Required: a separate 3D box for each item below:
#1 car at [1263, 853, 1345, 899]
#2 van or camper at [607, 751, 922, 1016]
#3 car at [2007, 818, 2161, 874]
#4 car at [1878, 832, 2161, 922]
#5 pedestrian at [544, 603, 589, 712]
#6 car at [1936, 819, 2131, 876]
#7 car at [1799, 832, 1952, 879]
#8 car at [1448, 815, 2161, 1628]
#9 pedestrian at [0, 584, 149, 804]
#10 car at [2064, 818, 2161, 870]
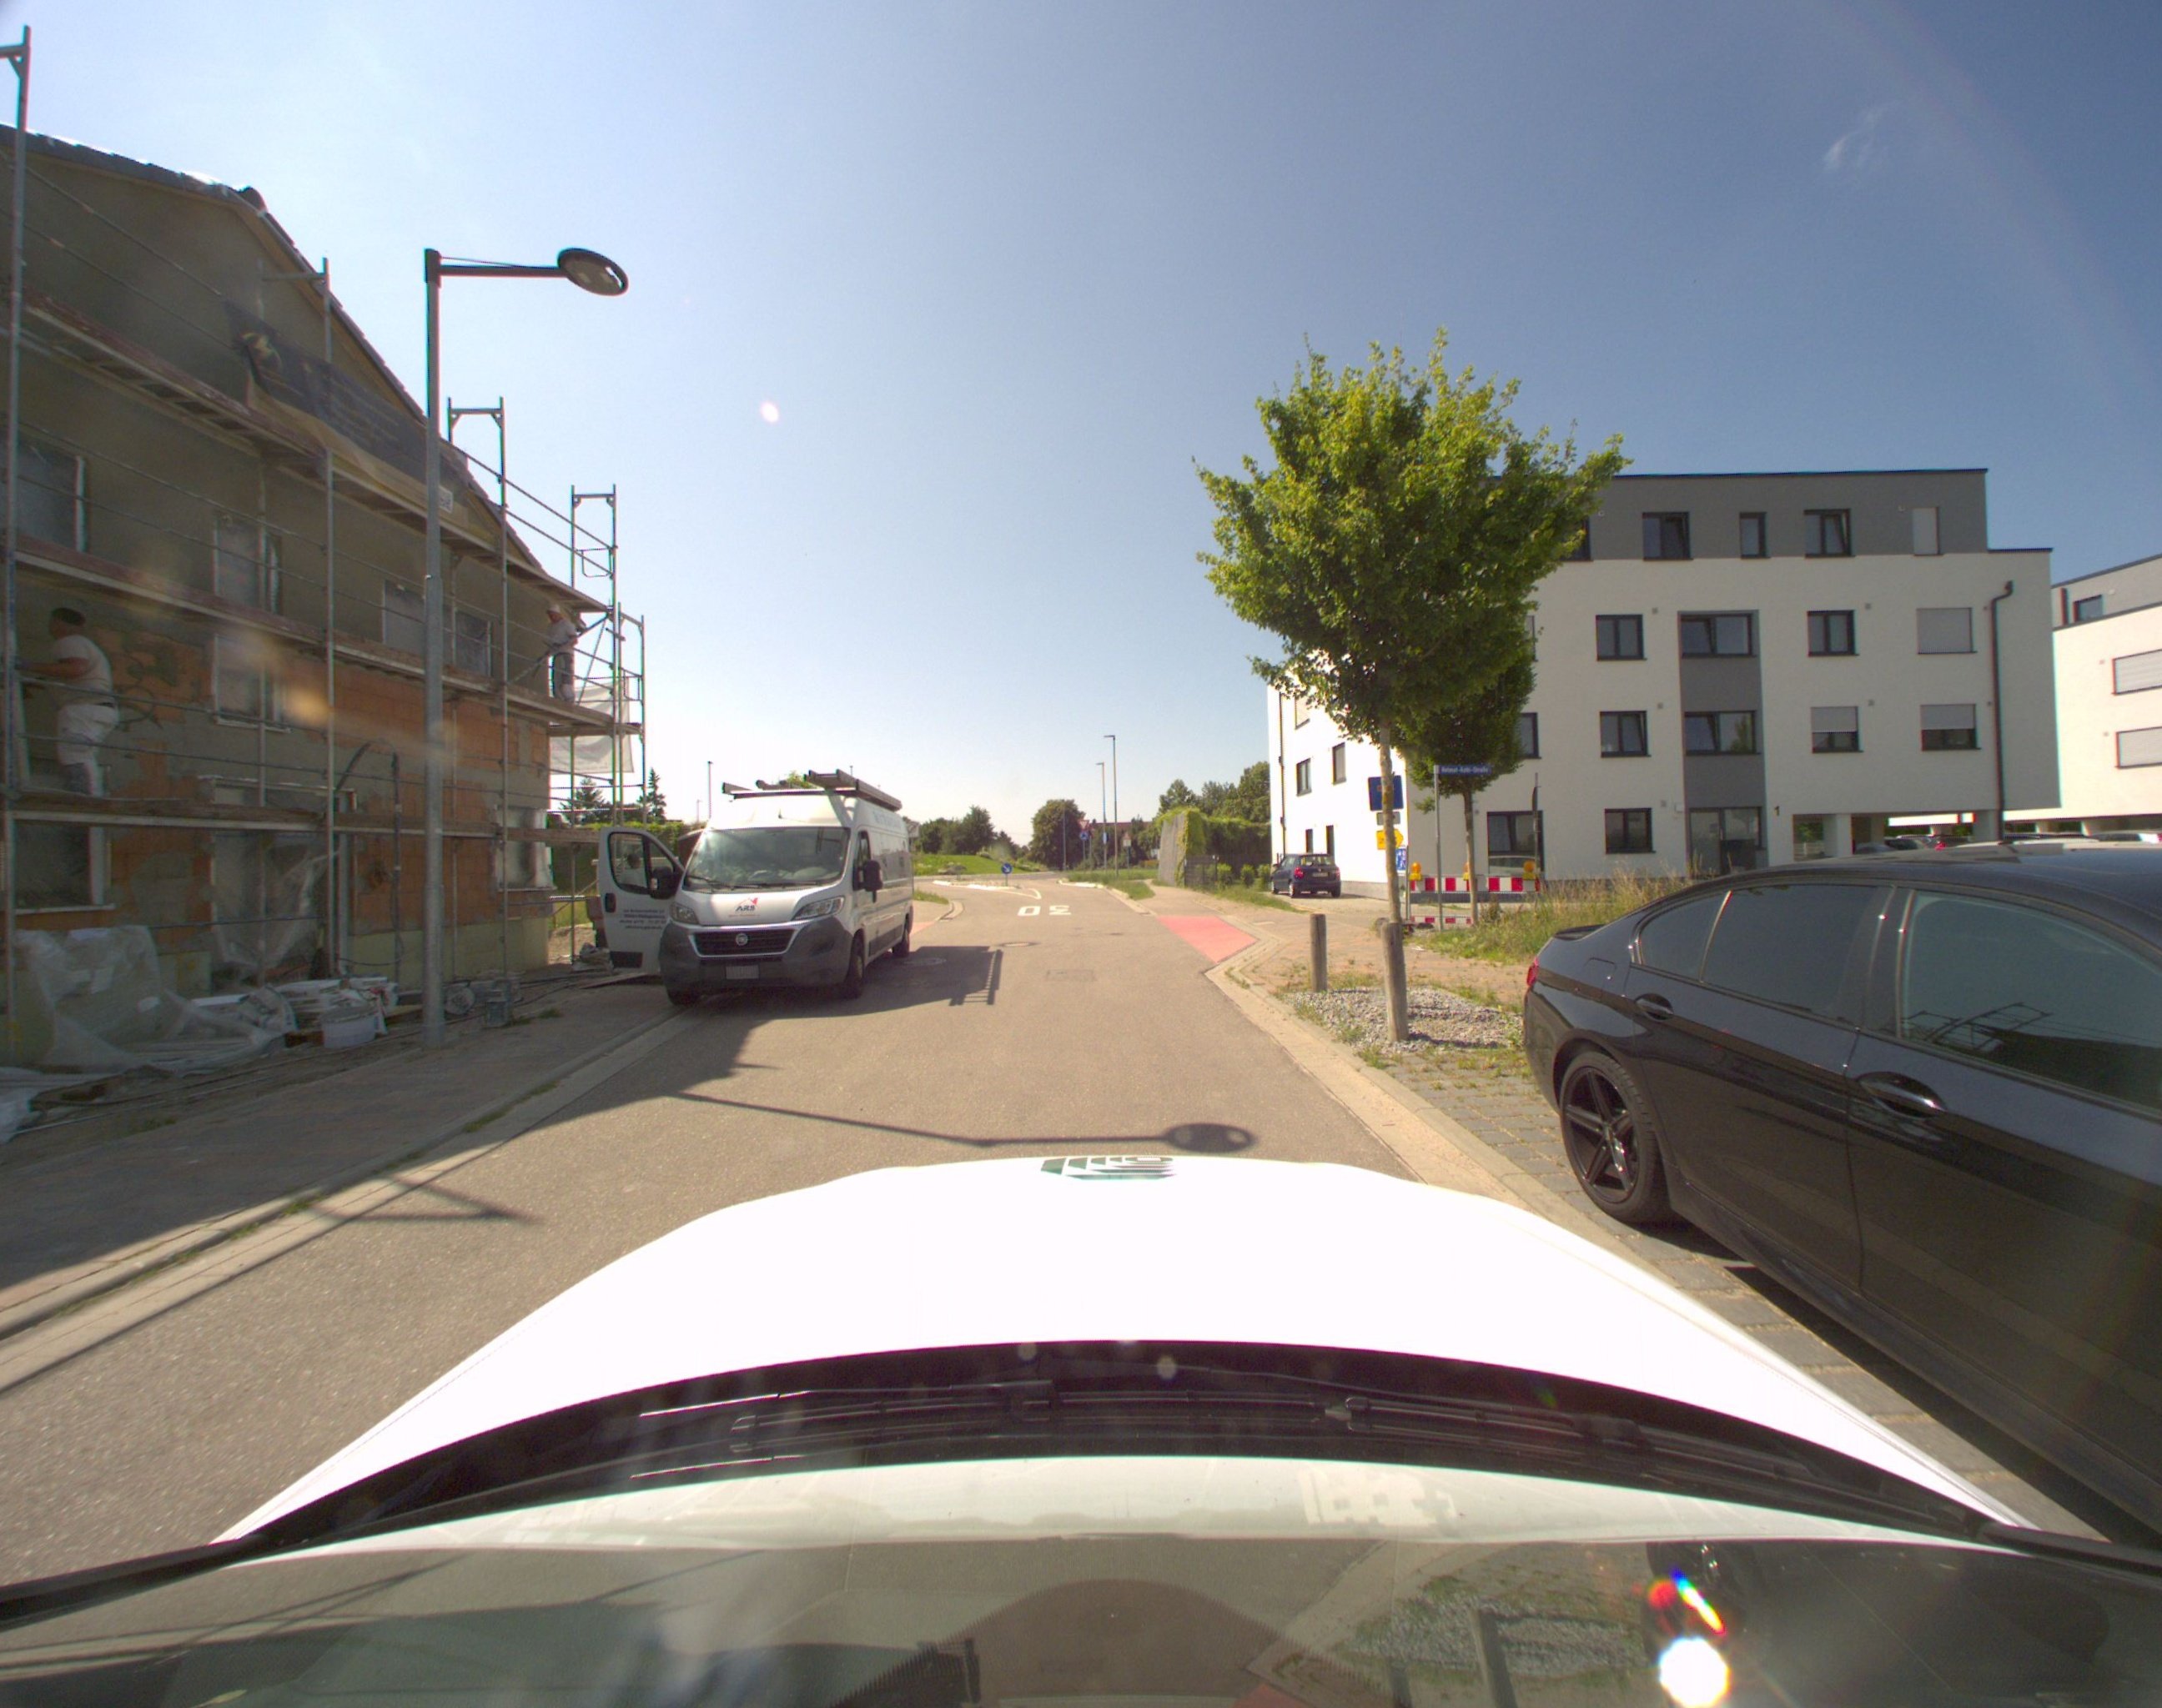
[{"bbox_3d":[7.670,0.721,28.371,1.673,1.470,4.114,0,0,-1],"label":"car"},{"bbox_3d":[-3.736,0.339,11.228,2.269,2.553,6.356,-2,-1,-5],"label":"van or camper"},{"bbox_3d":[35.950,-0.239,28.704,1.870,1.810,4.171,-2,-2,1],"label":"car"},{"bbox_3d":[17.446,0.394,14.766,4.145,1.436,1.882,-2,-2,-1],"label":"car"},{"bbox_3d":[-8.260,-3.123,13.065,0.566,1.500,0.740,0,-3,-36],"label":"pedestrian"},{"bbox_3d":[33.045,-0.155,28.469,1.870,1.810,4.171,-2,-2,1],"label":"car"},{"bbox_3d":[28.247,0.096,29.126,1.870,1.503,3.679,-2,-2,1],"label":"car"},{"bbox_3d":[2.942,0.643,2.045,1.910,1.469,5.144,-3,0,3],"label":"car"},{"bbox_3d":[-8.536,-1.301,6.859,0.751,1.680,0.572,0,-3,-34],"label":"pedestrian"},{"bbox_3d":[38.566,-0.371,29.077,1.870,1.810,4.171,-2,-2,1],"label":"car"}]
